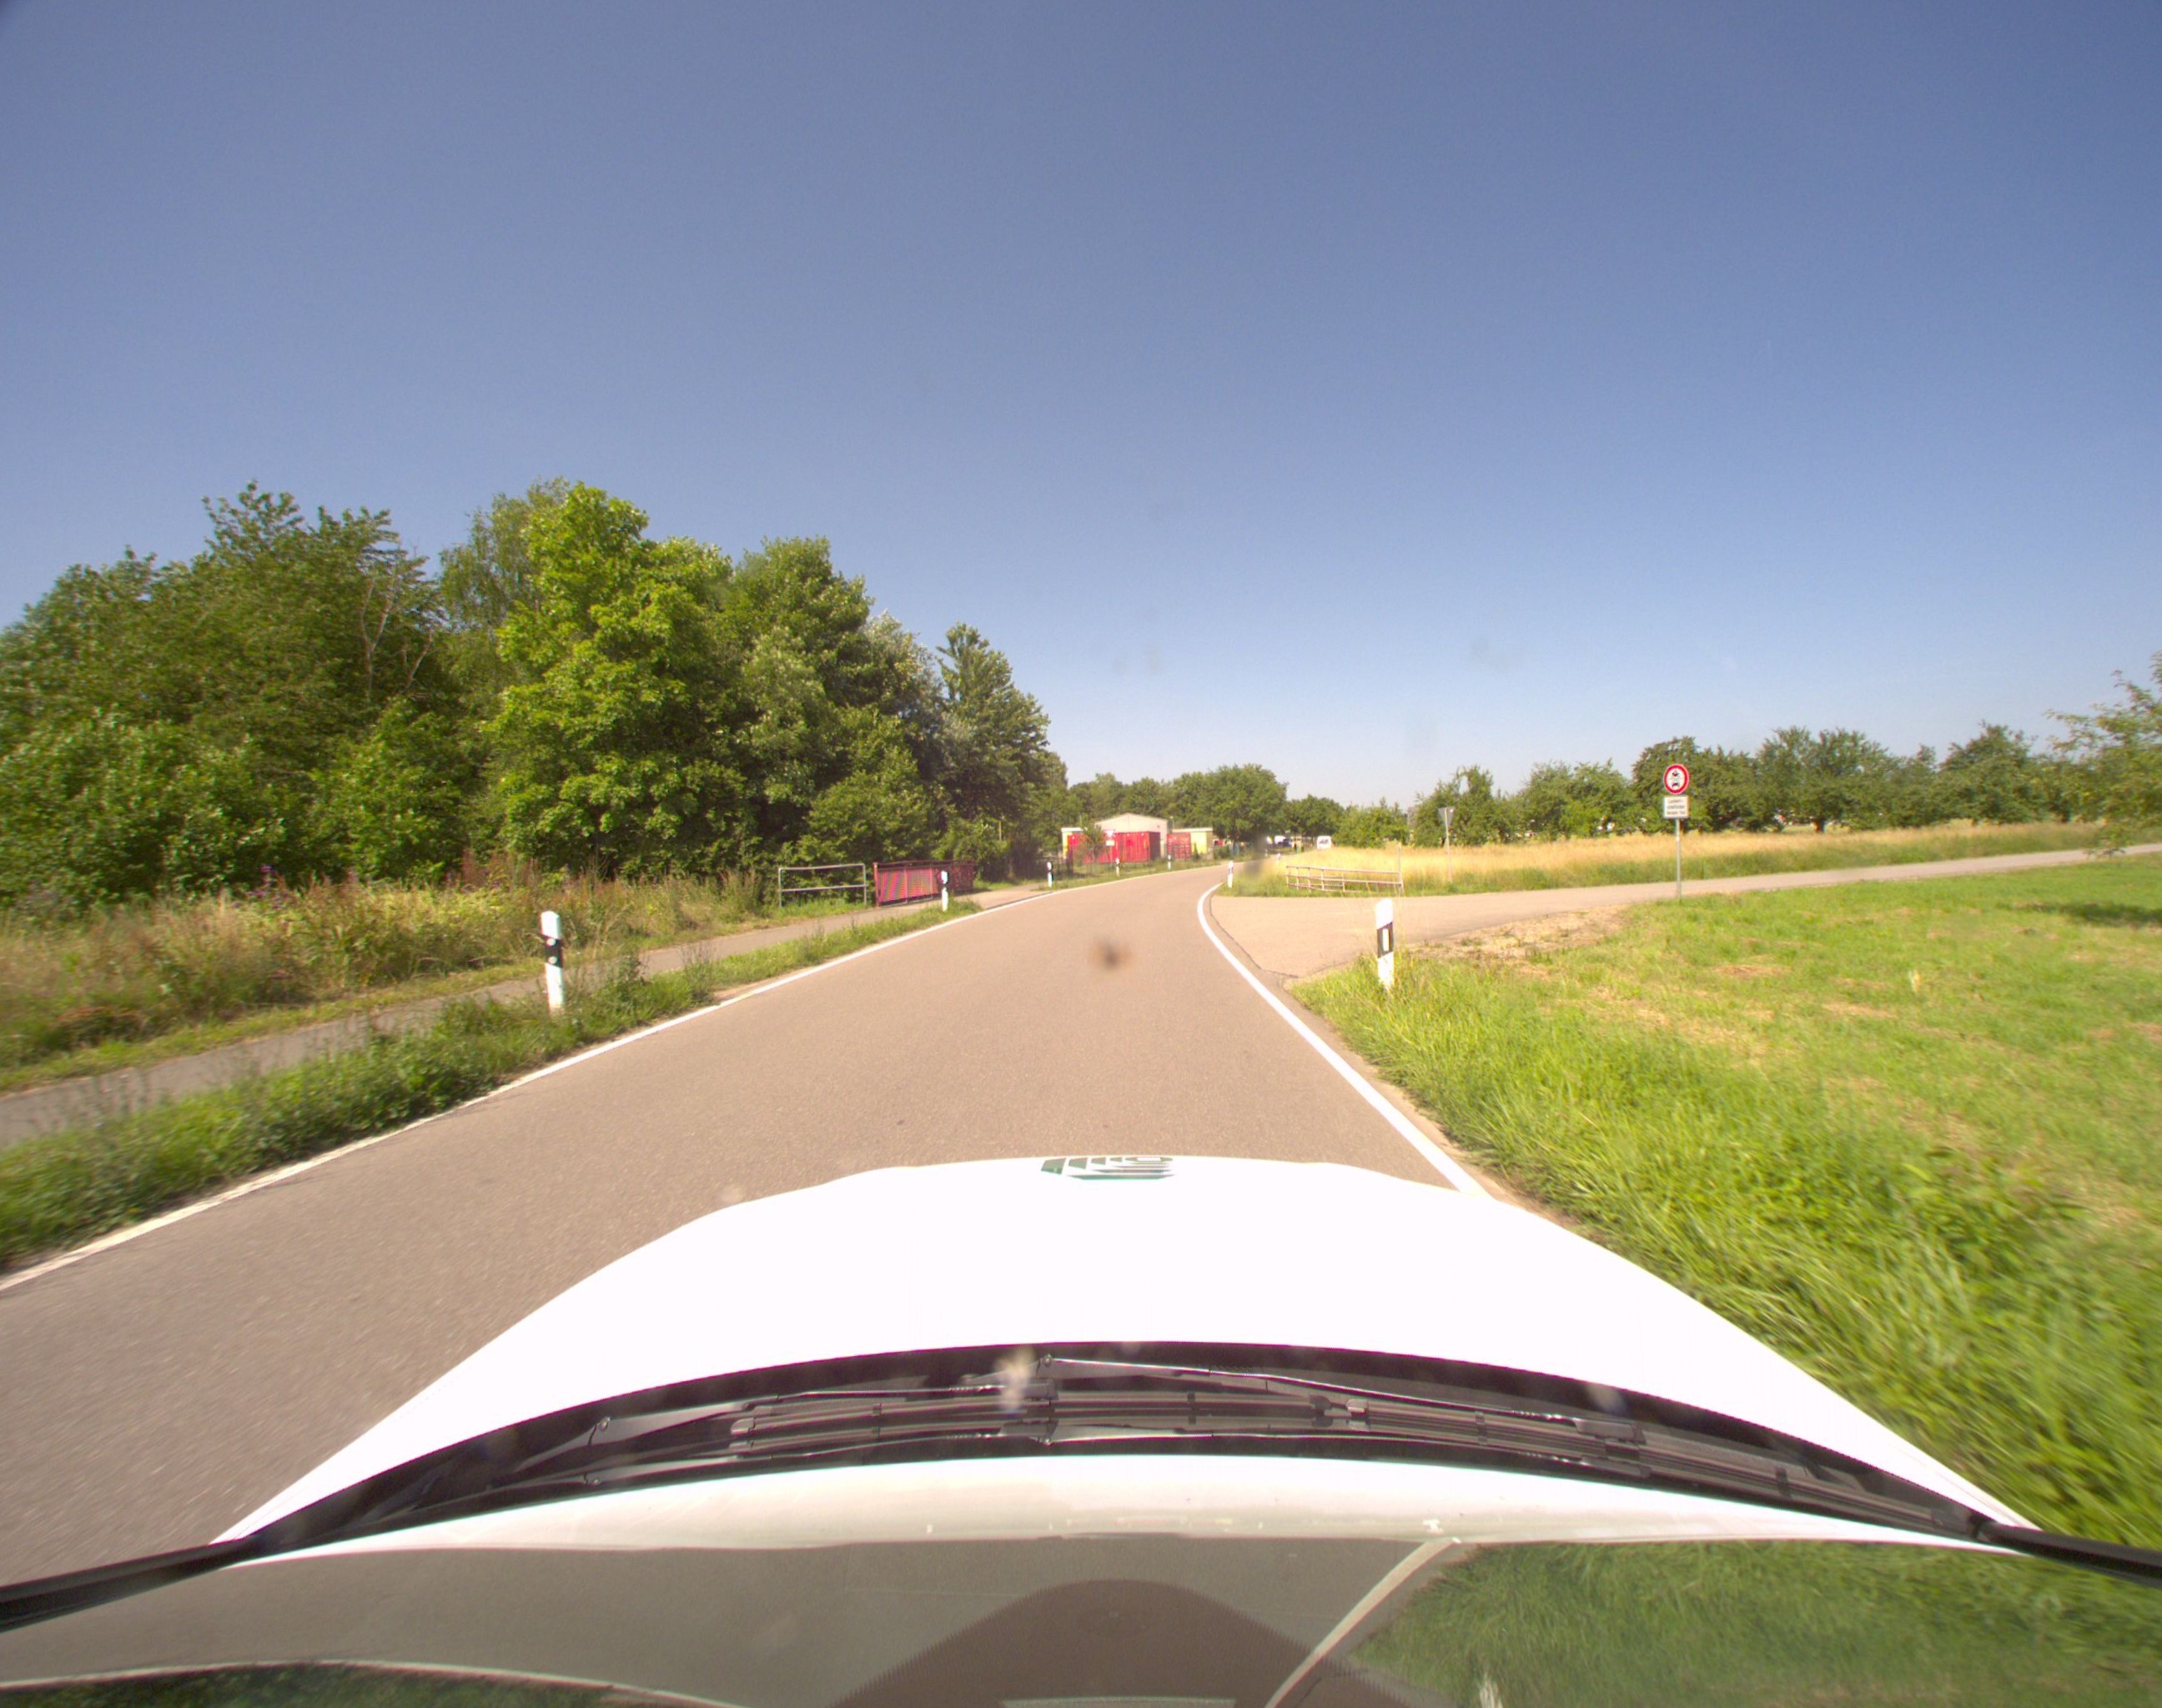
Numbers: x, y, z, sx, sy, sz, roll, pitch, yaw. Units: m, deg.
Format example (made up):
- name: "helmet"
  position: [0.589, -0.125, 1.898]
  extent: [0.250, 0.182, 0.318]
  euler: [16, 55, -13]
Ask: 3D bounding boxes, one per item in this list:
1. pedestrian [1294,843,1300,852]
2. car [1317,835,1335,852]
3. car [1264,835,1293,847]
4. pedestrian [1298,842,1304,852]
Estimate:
- name: "pedestrian"
  position: [39.231, -1.136, 147.865]
  extent: [0.670, 1.566, 0.723]
  euler: [-3, 0, 44]
- name: "car"
  position: [35.735, -1.561, 118.536]
  extent: [1.976, 2.266, 4.752]
  euler: [-3, 0, 22]
- name: "car"
  position: [41.489, -2.786, 170.934]
  extent: [5.608, 2.266, 1.989]
  euler: [-3, 0, -17]
- name: "pedestrian"
  position: [40.004, -1.266, 148.330]
  extent: [0.713, 1.803, 0.714]
  euler: [-3, 0, 45]
